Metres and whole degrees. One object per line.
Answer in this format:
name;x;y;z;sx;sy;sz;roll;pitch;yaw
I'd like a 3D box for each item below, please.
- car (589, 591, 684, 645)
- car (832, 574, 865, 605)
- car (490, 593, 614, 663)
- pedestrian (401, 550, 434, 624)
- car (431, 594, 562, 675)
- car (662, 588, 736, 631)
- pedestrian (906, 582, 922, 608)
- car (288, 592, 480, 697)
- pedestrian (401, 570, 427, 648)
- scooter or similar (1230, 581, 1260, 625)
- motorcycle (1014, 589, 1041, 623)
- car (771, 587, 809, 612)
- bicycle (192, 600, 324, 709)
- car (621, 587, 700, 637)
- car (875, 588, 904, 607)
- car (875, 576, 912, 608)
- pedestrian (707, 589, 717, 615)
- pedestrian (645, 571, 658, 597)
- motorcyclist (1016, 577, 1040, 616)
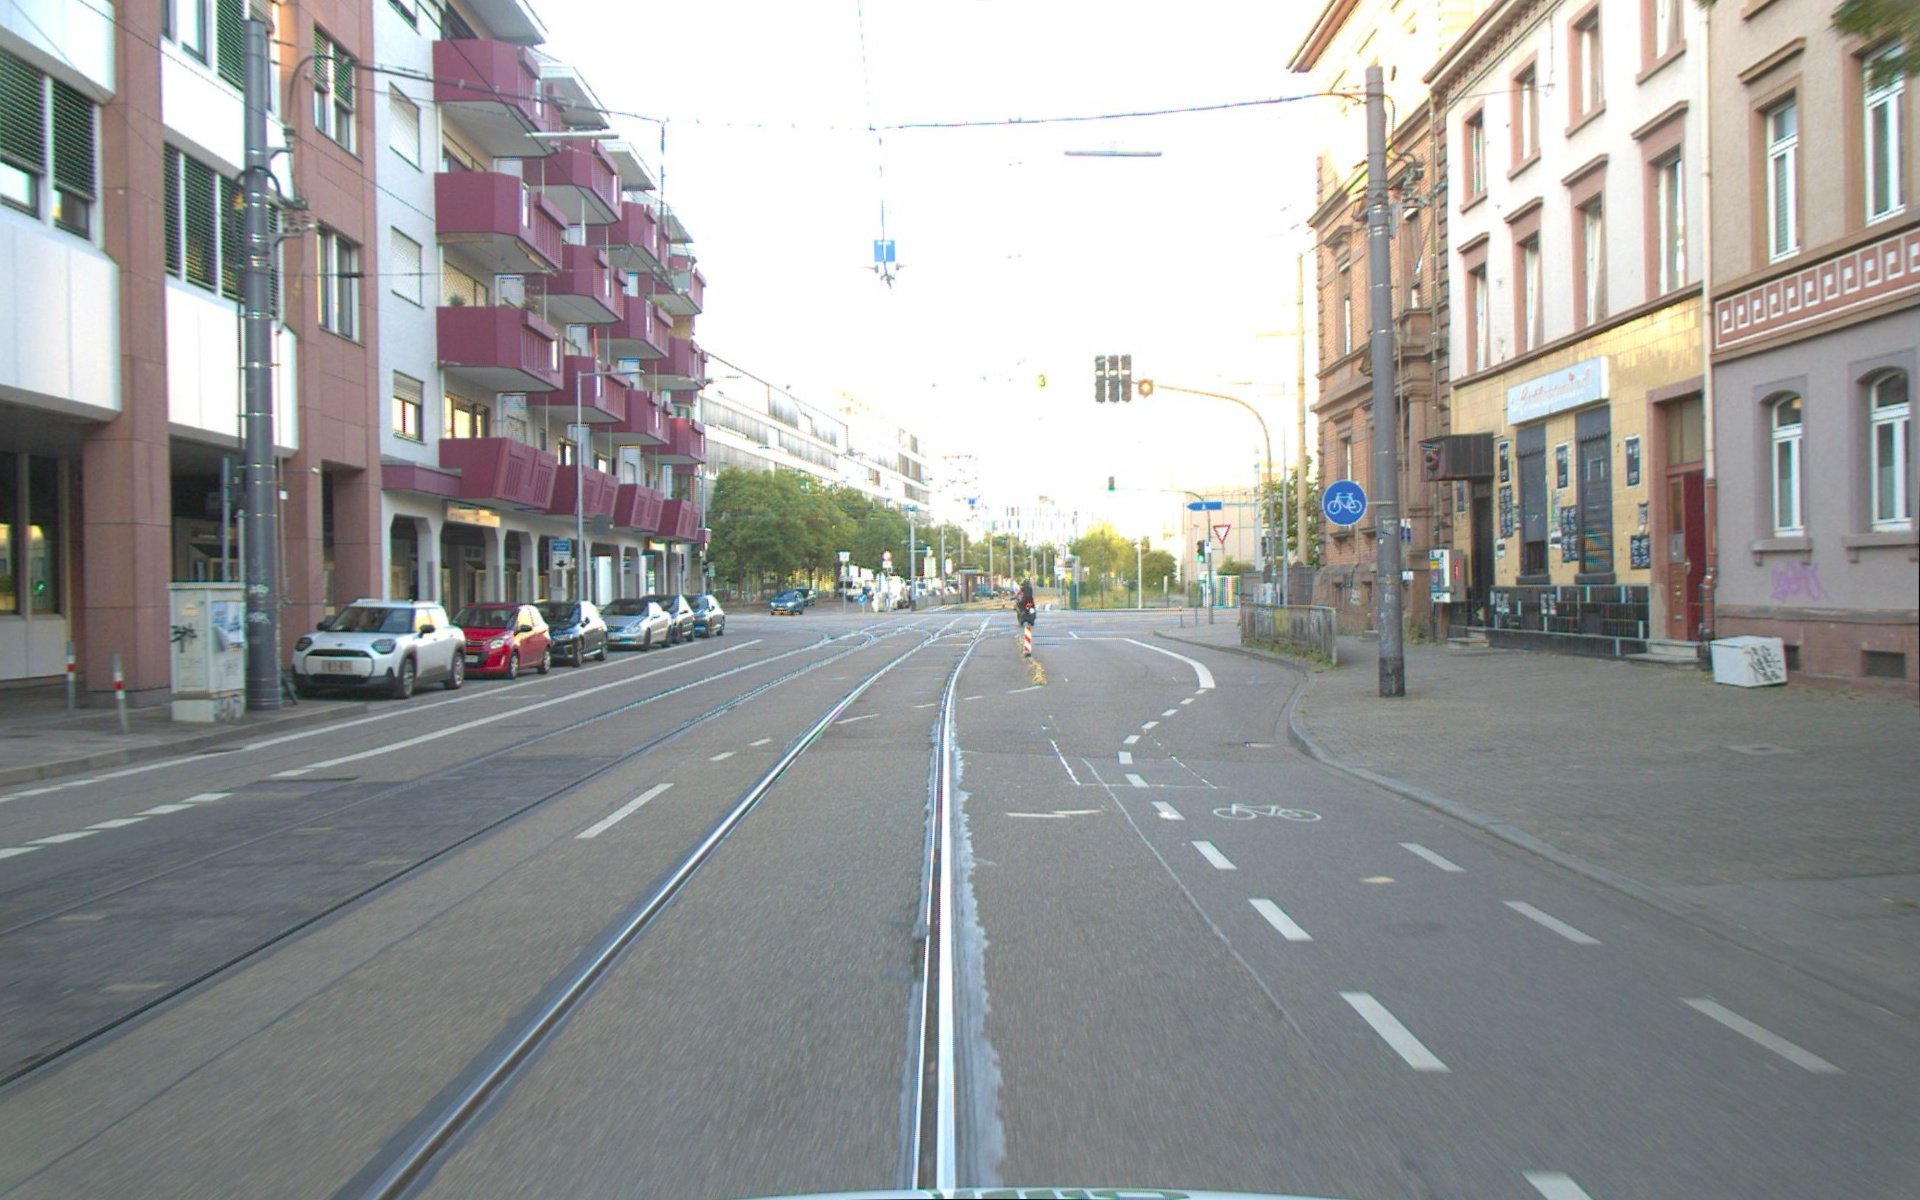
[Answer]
car;-9.229;0.480;47.555;1.656;1.438;4.678;1;0;2
car;-11.594;-1.117;172.583;2.154;3.207;6.148;-1;0;8
car;-9.544;0.621;39.079;1.953;1.505;4.480;1;0;-2
pedestrian;-14.131;-0.333;43.090;0.601;1.905;0.528;-1;0;20
car;-9.290;0.661;33.390;1.578;1.505;3.480;1;0;1
car;-9.348;0.309;59.543;1.814;1.482;5.086;-1;0;0
pedestrian;-3.820;-0.411;136.665;1.024;2.066;0.978;-1;0;-21
car;-9.456;0.675;27.508;1.681;1.583;4.204;0;0;0
pedestrian;-14.566;0.235;44.115;0.513;2.049;0.527;-1;0;-5
scooter or similar;8.746;0.083;50.851;0.628;1.288;1.583;-3;0;1
motorcycle;2.625;0.220;64.101;0.810;1.261;2.493;-1;0;7
car;-12.342;-0.058;120.287;1.647;1.729;4.243;-1;1;8
bicycle;-9.644;0.715;22.832;0.595;1.401;2.260;-1;1;7
car;-9.627;0.366;53.486;1.751;1.535;4.200;1;0;0
car;-5.543;-0.207;130.144;1.647;1.464;4.129;-1;1;7
car;-5.406;-0.700;135.805;2.409;2.526;5.811;-1;0;3
pedestrian;-19.327;0.144;128.910;0.649;1.956;0.548;-2;0;-4
pedestrian;-20.411;-1.047;109.497;0.535;1.741;0.660;-1;0;17
motorcyclist;2.628;-0.150;64.157;0.810;1.499;1.208;-1;0;6
